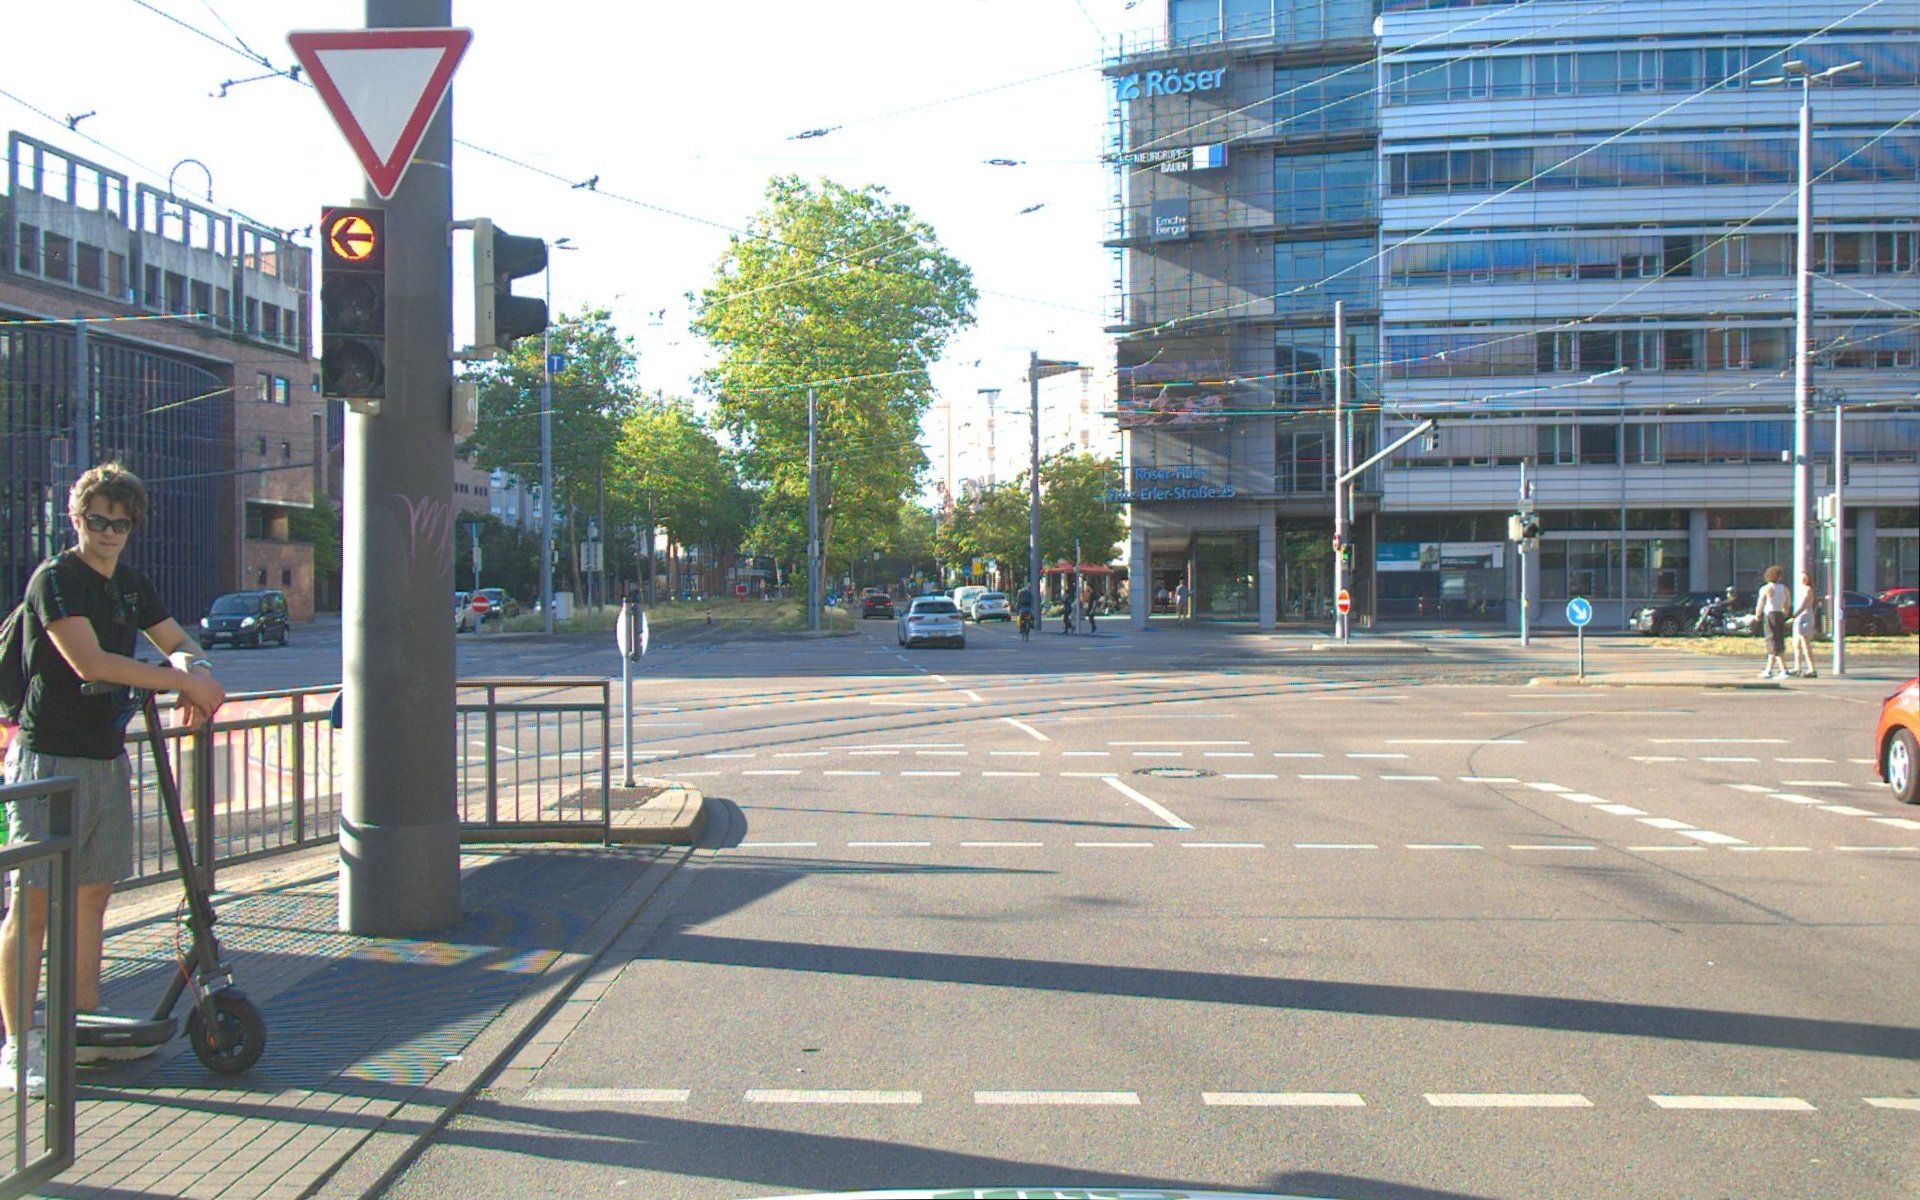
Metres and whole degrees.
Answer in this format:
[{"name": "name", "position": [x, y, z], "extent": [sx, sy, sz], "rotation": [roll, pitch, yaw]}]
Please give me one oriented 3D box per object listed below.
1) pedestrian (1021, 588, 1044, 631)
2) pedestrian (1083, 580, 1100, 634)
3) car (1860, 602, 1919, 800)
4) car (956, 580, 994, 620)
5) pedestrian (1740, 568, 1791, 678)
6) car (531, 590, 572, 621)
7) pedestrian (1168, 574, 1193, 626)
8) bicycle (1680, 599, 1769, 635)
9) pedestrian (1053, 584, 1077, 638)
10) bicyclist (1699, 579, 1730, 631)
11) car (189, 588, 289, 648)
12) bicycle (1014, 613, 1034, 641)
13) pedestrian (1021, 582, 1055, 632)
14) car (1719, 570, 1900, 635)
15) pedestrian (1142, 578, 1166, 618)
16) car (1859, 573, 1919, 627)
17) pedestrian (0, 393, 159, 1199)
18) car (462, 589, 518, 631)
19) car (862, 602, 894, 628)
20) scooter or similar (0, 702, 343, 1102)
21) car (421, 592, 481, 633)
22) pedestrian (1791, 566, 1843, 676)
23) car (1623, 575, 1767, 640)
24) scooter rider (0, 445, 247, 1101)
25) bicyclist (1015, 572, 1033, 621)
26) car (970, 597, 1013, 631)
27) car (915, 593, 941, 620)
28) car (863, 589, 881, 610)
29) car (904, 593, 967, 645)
[{"name": "pedestrian", "position": [2.931, 0.388, 66.917], "extent": [0.852, 1.737, 0.793], "rotation": [1, -1, -1]}, {"name": "pedestrian", "position": [4.995, 0.260, 62.894], "extent": [0.574, 2.049, 0.620], "rotation": [1, -1, 0]}, {"name": "car", "position": [7.954, 0.775, 11.543], "extent": [1.459, 1.485, 3.598], "rotation": [0, 0, 2]}, {"name": "car", "position": [0.790, 0.010, 89.580], "extent": [1.953, 2.049, 3.999], "rotation": [1, 0, -1]}, {"name": "pedestrian", "position": [13.298, 0.372, 27.307], "extent": [0.725, 1.789, 0.679], "rotation": [-1, 0, 25]}, {"name": "car", "position": [-22.531, 0.288, 91.306], "extent": [1.644, 1.635, 3.994], "rotation": [1, 0, -7]}, {"name": "pedestrian", "position": [8.840, -0.011, 66.259], "extent": [0.852, 2.049, 0.793], "rotation": [1, -2, -1]}, {"name": "bicycle", "position": [23.020, 0.504, 49.843], "extent": [2.359, 1.040, 0.637], "rotation": [-1, 0, 4]}, {"name": "pedestrian", "position": [4.064, 0.437, 63.800], "extent": [0.832, 2.049, 0.707], "rotation": [1, -1, -2]}, {"name": "bicyclist", "position": [22.741, 0.148, 49.855], "extent": [0.649, 1.529, 0.613], "rotation": [-1, 0, 4]}, {"name": "car", "position": [-22.844, 0.538, 52.549], "extent": [1.832, 1.793, 3.993], "rotation": [1, 0, -8]}, {"name": "bicycle", "position": [1.957, 0.820, 50.683], "extent": [0.481, 0.802, 1.861], "rotation": [1, 0, -1]}, {"name": "pedestrian", "position": [3.113, 0.289, 66.172], "extent": [1.315, 1.984, 1.011], "rotation": [0, 0, -1]}, {"name": "car", "position": [24.091, 0.076, 47.011], "extent": [4.165, 1.753, 1.885], "rotation": [-1, 0, 2]}, {"name": "pedestrian", "position": [10.985, -0.086, 93.558], "extent": [1.285, 2.228, 1.171], "rotation": [1, -1, 5]}, {"name": "car", "position": [29.446, 0.017, 49.688], "extent": [3.903, 1.579, 1.798], "rotation": [1, 0, 4]}, {"name": "pedestrian", "position": [-2.782, 0.482, 4.090], "extent": [1.143, 1.917, 0.854], "rotation": [-1, 0, 4]}, {"name": "car", "position": [-21.122, 0.411, 74.505], "extent": [1.787, 1.821, 3.994], "rotation": [-1, 0, -7]}, {"name": "car", "position": [-4.789, 0.835, 95.970], "extent": [1.729, 1.429, 4.292], "rotation": [0, 0, -5]}, {"name": "scooter or similar", "position": [-2.622, 0.893, 5.092], "extent": [1.177, 1.100, 0.648], "rotation": [-1, 0, 3]}, {"name": "car", "position": [-20.562, 0.478, 66.929], "extent": [1.591, 1.604, 3.994], "rotation": [-1, 0, -7]}, {"name": "pedestrian", "position": [14.199, 0.343, 27.428], "extent": [0.725, 1.789, 0.685], "rotation": [-1, 0, 26]}, {"name": "car", "position": [24.335, 0.236, 54.864], "extent": [3.906, 2.049, 2.000], "rotation": [1, 0, -1]}, {"name": "scooter rider", "position": [-2.647, 0.504, 5.117], "extent": [0.554, 1.885, 0.680], "rotation": [-1, -2, 4]}, {"name": "bicyclist", "position": [1.953, -0.111, 50.529], "extent": [0.477, 1.465, 0.615], "rotation": [1, 0, -1]}, {"name": "car", "position": [1.570, 0.689, 82.775], "extent": [1.988, 1.624, 3.999], "rotation": [1, 0, -1]}, {"name": "car", "position": [-2.427, 0.488, 126.748], "extent": [1.953, 2.049, 3.999], "rotation": [1, 0, -1]}, {"name": "car", "position": [-11.163, -0.031, 209.448], "extent": [1.952, 2.049, 3.998], "rotation": [1, -8, 0]}, {"name": "car", "position": [-0.672, 0.520, 48.141], "extent": [1.712, 1.443, 4.001], "rotation": [0, 0, 1]}]
